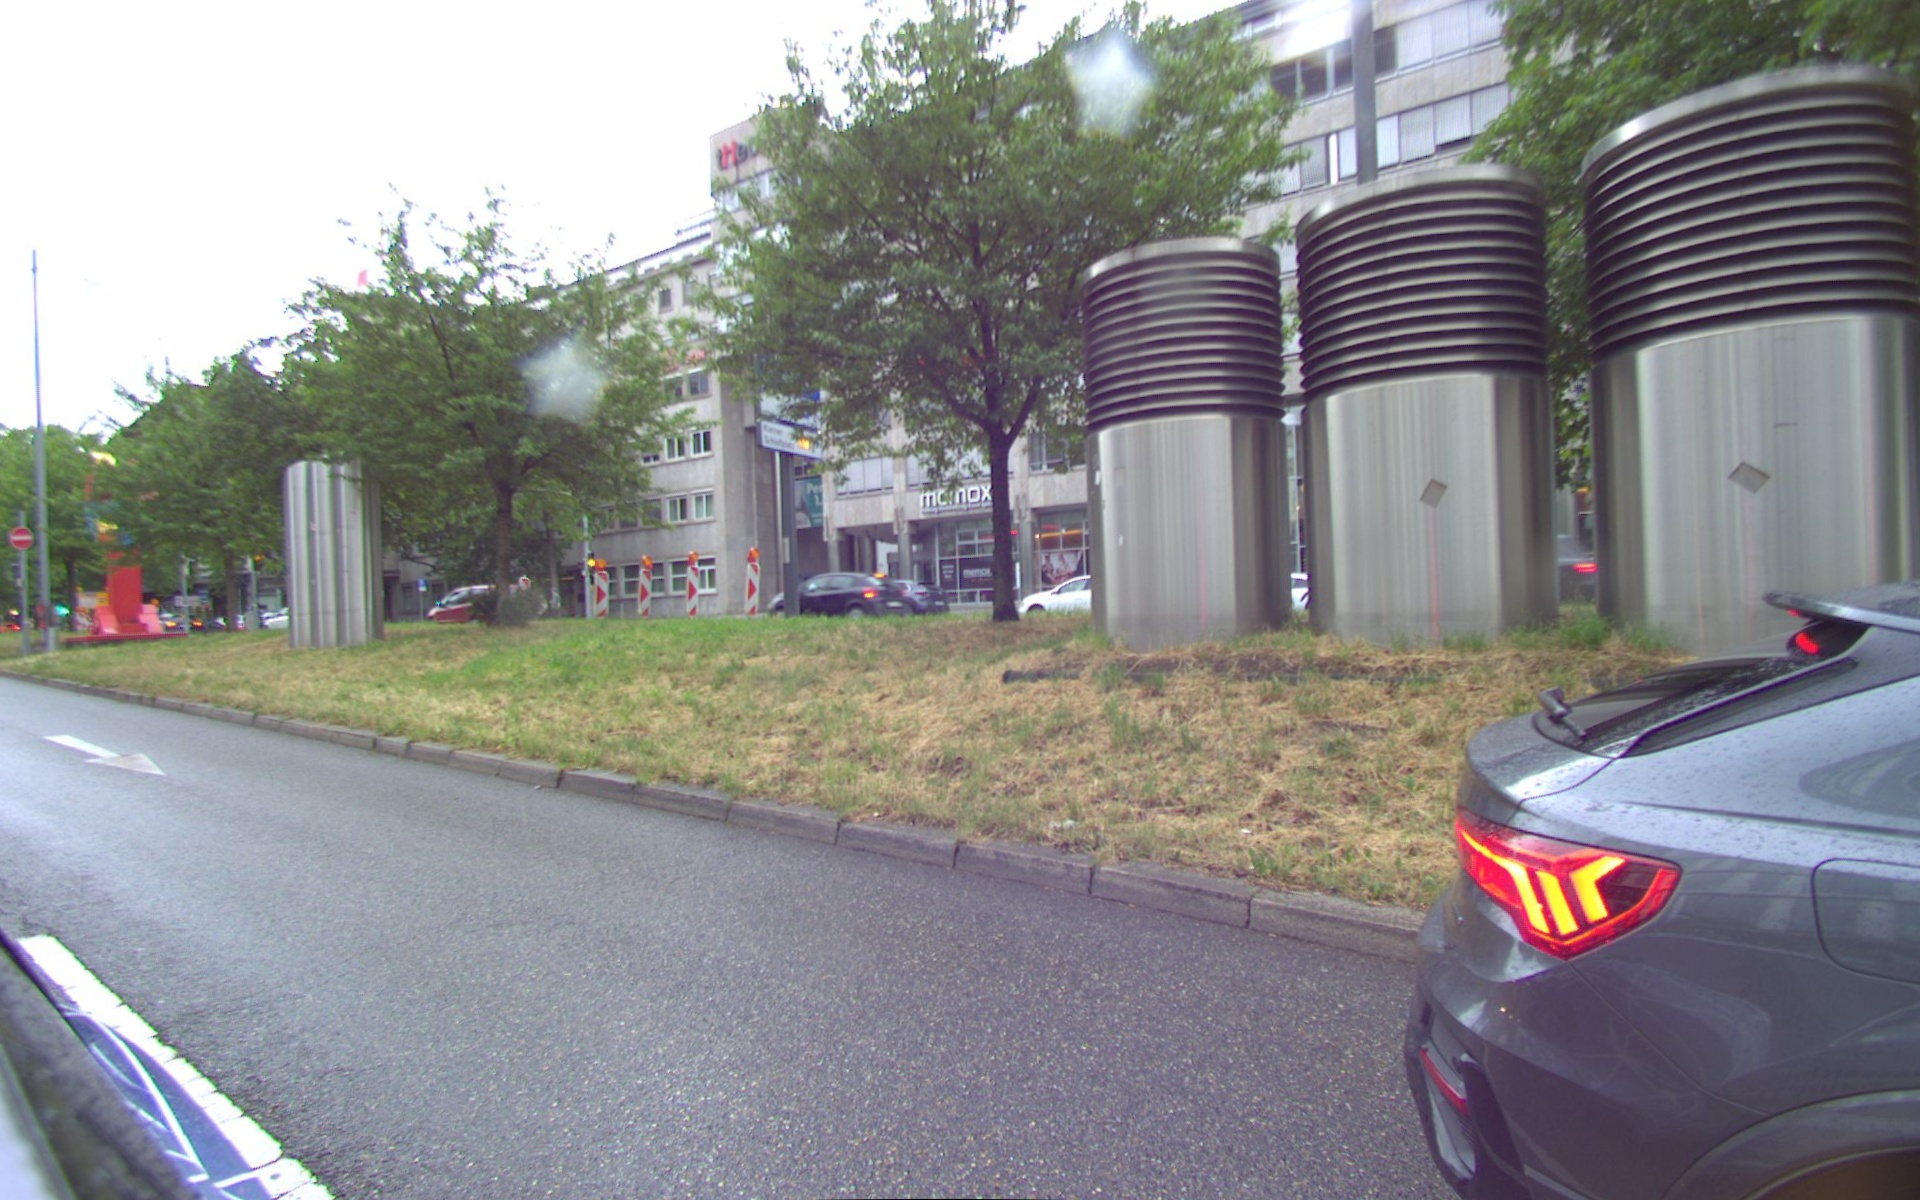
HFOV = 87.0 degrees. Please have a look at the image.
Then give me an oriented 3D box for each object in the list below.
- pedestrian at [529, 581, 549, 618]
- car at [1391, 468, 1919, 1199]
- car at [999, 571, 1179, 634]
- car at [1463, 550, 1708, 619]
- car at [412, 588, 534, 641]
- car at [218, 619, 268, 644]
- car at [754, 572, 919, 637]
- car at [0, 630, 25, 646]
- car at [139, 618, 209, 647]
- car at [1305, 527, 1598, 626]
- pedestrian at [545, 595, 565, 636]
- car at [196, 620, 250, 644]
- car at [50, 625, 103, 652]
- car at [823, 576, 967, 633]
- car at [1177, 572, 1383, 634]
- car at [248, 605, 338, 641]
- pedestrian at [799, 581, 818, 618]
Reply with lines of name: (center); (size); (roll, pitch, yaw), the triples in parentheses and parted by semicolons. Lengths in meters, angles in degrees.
pedestrian: (-18.984, -0.038, 45.625); (0.619, 1.641, 0.599); (-2, 0, 41)
car: (2.905, 0.587, 0.937); (4.247, 1.628, 1.830); (-2, 0, 39)
car: (3.648, 0.108, 29.160); (4.905, 1.634, 1.759); (-2, -1, 38)
car: (13.855, -0.307, 22.611); (4.465, 1.335, 1.876); (-2, 0, 34)
car: (-17.193, 0.527, 35.693); (4.568, 1.740, 1.711); (-2, 0, 33)
car: (-46.989, 2.070, 66.324); (3.687, 1.514, 1.670); (-2, -1, 38)
car: (-3.210, 0.123, 25.976); (3.990, 1.497, 1.790); (-1, 2, 35)
car: (-88.221, 3.541, 93.730); (4.128, 1.440, 1.843); (-2, -1, 40)
car: (-43.922, 1.827, 56.555); (3.987, 1.486, 1.853); (-2, 0, 33)
car: (8.476, -0.381, 17.600); (4.368, 1.497, 1.791); (-1, 2, 32)
pedestrian: (-18.029, 0.687, 45.030); (0.721, 1.801, 0.522); (-2, 0, 42)
car: (-50.465, 2.215, 69.262); (4.568, 1.498, 1.769); (-2, -1, 38)
car: (-59.744, 2.595, 68.445); (3.993, 1.713, 1.927); (-2, 0, 37)
car: (-2.232, 0.194, 33.914); (4.785, 1.739, 1.844); (-2, -1, 38)
car: (8.068, 0.114, 25.785); (4.677, 1.412, 1.759); (-2, -1, 38)
car: (-29.894, 1.024, 45.350); (4.180, 1.486, 1.805); (-2, 0, 33)
pedestrian: (-7.466, -0.025, 49.864); (0.526, 1.801, 0.715); (-2, 0, 25)
